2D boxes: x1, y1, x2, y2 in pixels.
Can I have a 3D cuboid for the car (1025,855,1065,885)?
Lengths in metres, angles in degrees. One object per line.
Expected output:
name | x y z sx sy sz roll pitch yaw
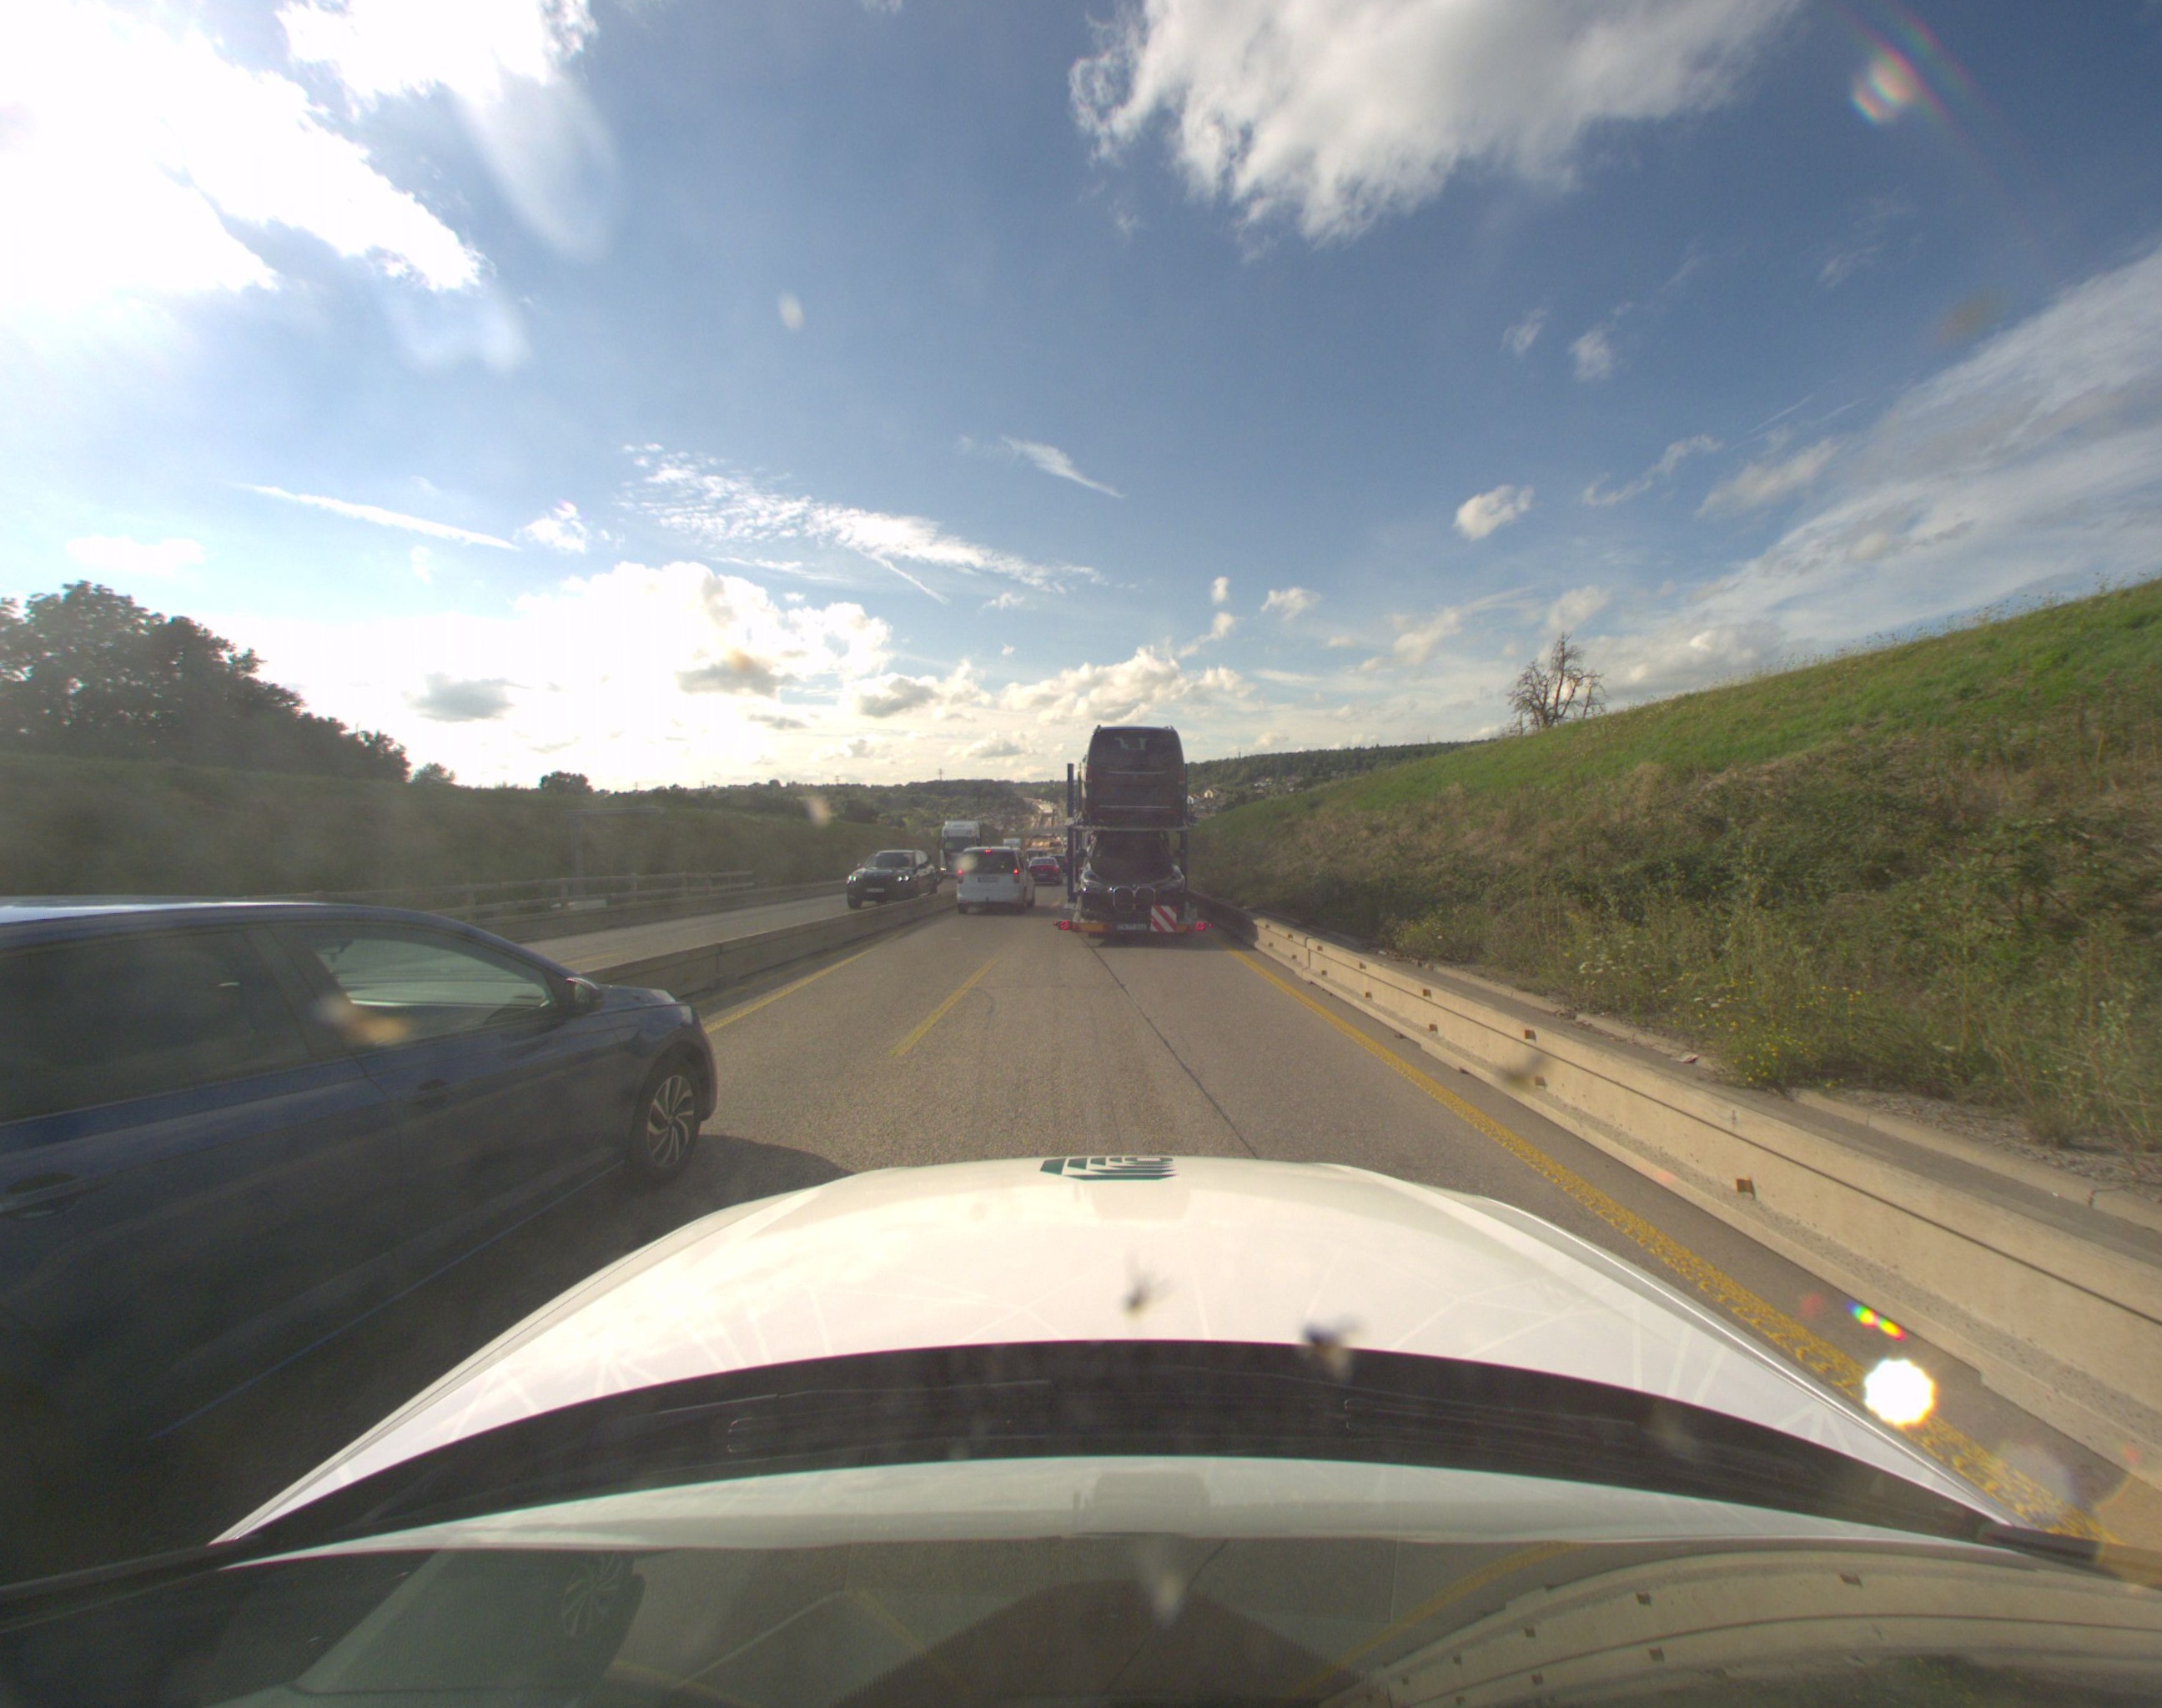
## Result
car | -1.866 0.829 43.696 1.816 1.492 4.686 1 0 1

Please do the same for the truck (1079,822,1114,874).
truck | 1.378 -0.484 78.070 2.856 4.571 11.651 -1 0 -1

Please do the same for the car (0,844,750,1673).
car | -2.778 0.741 2.547 1.708 1.508 4.002 0 0 2

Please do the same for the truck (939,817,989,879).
truck | -8.172 -0.394 57.687 2.606 4.153 5.781 -1 0 0

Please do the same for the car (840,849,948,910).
car | -5.850 0.710 26.316 1.940 1.746 5.583 0 1 3

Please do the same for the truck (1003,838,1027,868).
truck | -9.458 -0.114 117.756 2.631 4.099 10.813 -1 0 -1

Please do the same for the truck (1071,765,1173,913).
truck | 1.156 -0.392 24.686 2.668 3.922 6.028 -1 0 1

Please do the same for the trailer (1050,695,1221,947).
trailer | 0.982 -0.521 18.806 2.698 4.029 11.421 -1 0 1

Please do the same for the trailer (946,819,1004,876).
trailer | -8.129 -0.450 64.576 2.606 3.954 13.874 -1 0 1

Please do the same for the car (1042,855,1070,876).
car | -1.903 0.870 64.300 1.987 1.625 4.750 0 0 0

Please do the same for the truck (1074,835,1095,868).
truck | 0.435 -0.318 121.581 2.856 4.571 11.651 -1 0 -1

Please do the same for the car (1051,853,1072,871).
car | -1.735 0.713 74.425 1.791 1.596 4.741 -1 0 0

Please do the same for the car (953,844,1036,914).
car | -2.379 0.650 23.520 1.816 1.823 4.457 1 0 1

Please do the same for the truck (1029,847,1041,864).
truck | -11.608 0.396 206.572 2.630 4.099 10.815 -1 0 0

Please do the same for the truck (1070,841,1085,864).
truck | -0.751 -0.346 169.843 2.856 4.571 11.651 -1 0 -1
